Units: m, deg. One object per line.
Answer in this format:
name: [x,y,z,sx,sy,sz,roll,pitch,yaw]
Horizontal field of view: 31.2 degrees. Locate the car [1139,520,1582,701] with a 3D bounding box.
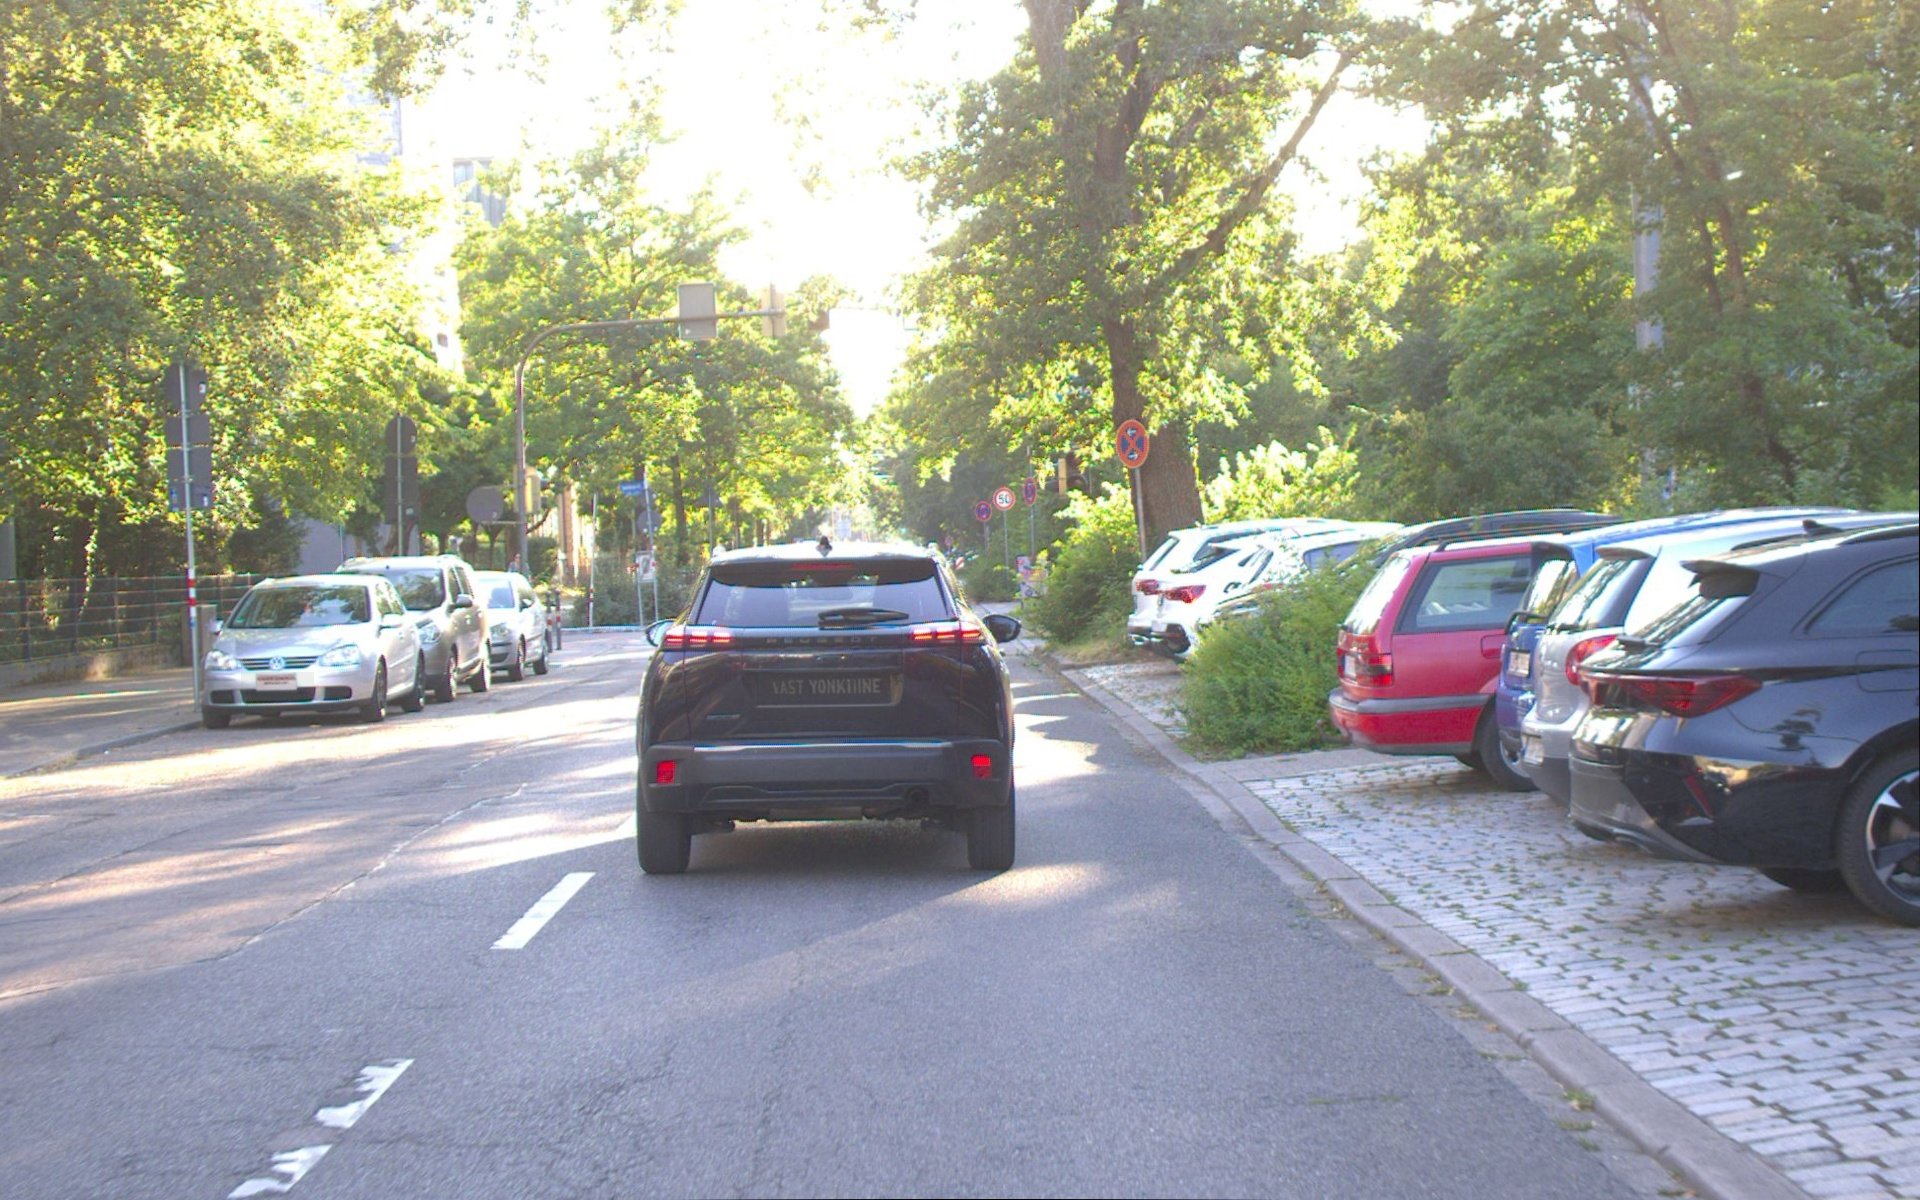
car: [3.888,0.091,33.862,4.122,1.661,1.723,-1,1,0]

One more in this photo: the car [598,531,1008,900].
car: [-0.758,0.477,16.916,1.768,1.563,3.381,-2,2,-2]

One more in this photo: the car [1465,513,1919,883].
car: [4.476,0.336,15.876,3.924,1.449,1.832,-5,1,1]

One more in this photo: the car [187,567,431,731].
car: [-6.503,0.448,34.716,1.671,1.488,4.061,-2,1,0]

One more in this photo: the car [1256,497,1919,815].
car: [4.063,0.289,20.547,4.338,1.470,1.742,-5,2,0]

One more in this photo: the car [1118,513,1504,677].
car: [3.900,-0.070,38.637,4.171,1.704,1.867,-1,1,4]

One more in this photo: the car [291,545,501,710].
car: [-6.542,0.270,40.283,1.679,1.702,4.341,-3,1,0]

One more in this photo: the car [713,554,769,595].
car: [-7.886,-0.930,123.616,1.810,1.349,4.001,-3,1,-6]

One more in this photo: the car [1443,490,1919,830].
car: [4.667,0.233,18.441,3.711,1.550,1.742,-5,1,-4]

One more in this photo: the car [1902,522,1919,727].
car: [5.021,0.316,10.242,3.807,1.469,1.832,-5,0,0]

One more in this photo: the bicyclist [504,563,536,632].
bicyclist: [-10.383,-0.058,81.155,0.675,1.598,0.706,-2,1,-6]

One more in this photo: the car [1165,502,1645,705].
car: [3.699,0.018,29.001,3.744,1.589,1.697,-1,1,-3]

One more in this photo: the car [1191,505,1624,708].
car: [4.032,0.059,31.420,3.588,1.561,1.818,-4,0,-1]

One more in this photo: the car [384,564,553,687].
car: [-6.622,0.309,46.677,1.679,1.452,3.882,-3,1,0]

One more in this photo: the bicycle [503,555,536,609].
bicycle: [-10.392,-0.441,81.130,0.686,1.245,2.193,-2,1,-6]

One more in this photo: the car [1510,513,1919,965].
car: [4.322,0.363,12.929,4.120,1.469,1.832,-5,1,1]

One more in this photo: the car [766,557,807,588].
car: [-8.277,-1.329,163.703,1.810,1.349,3.980,-3,1,-5]
